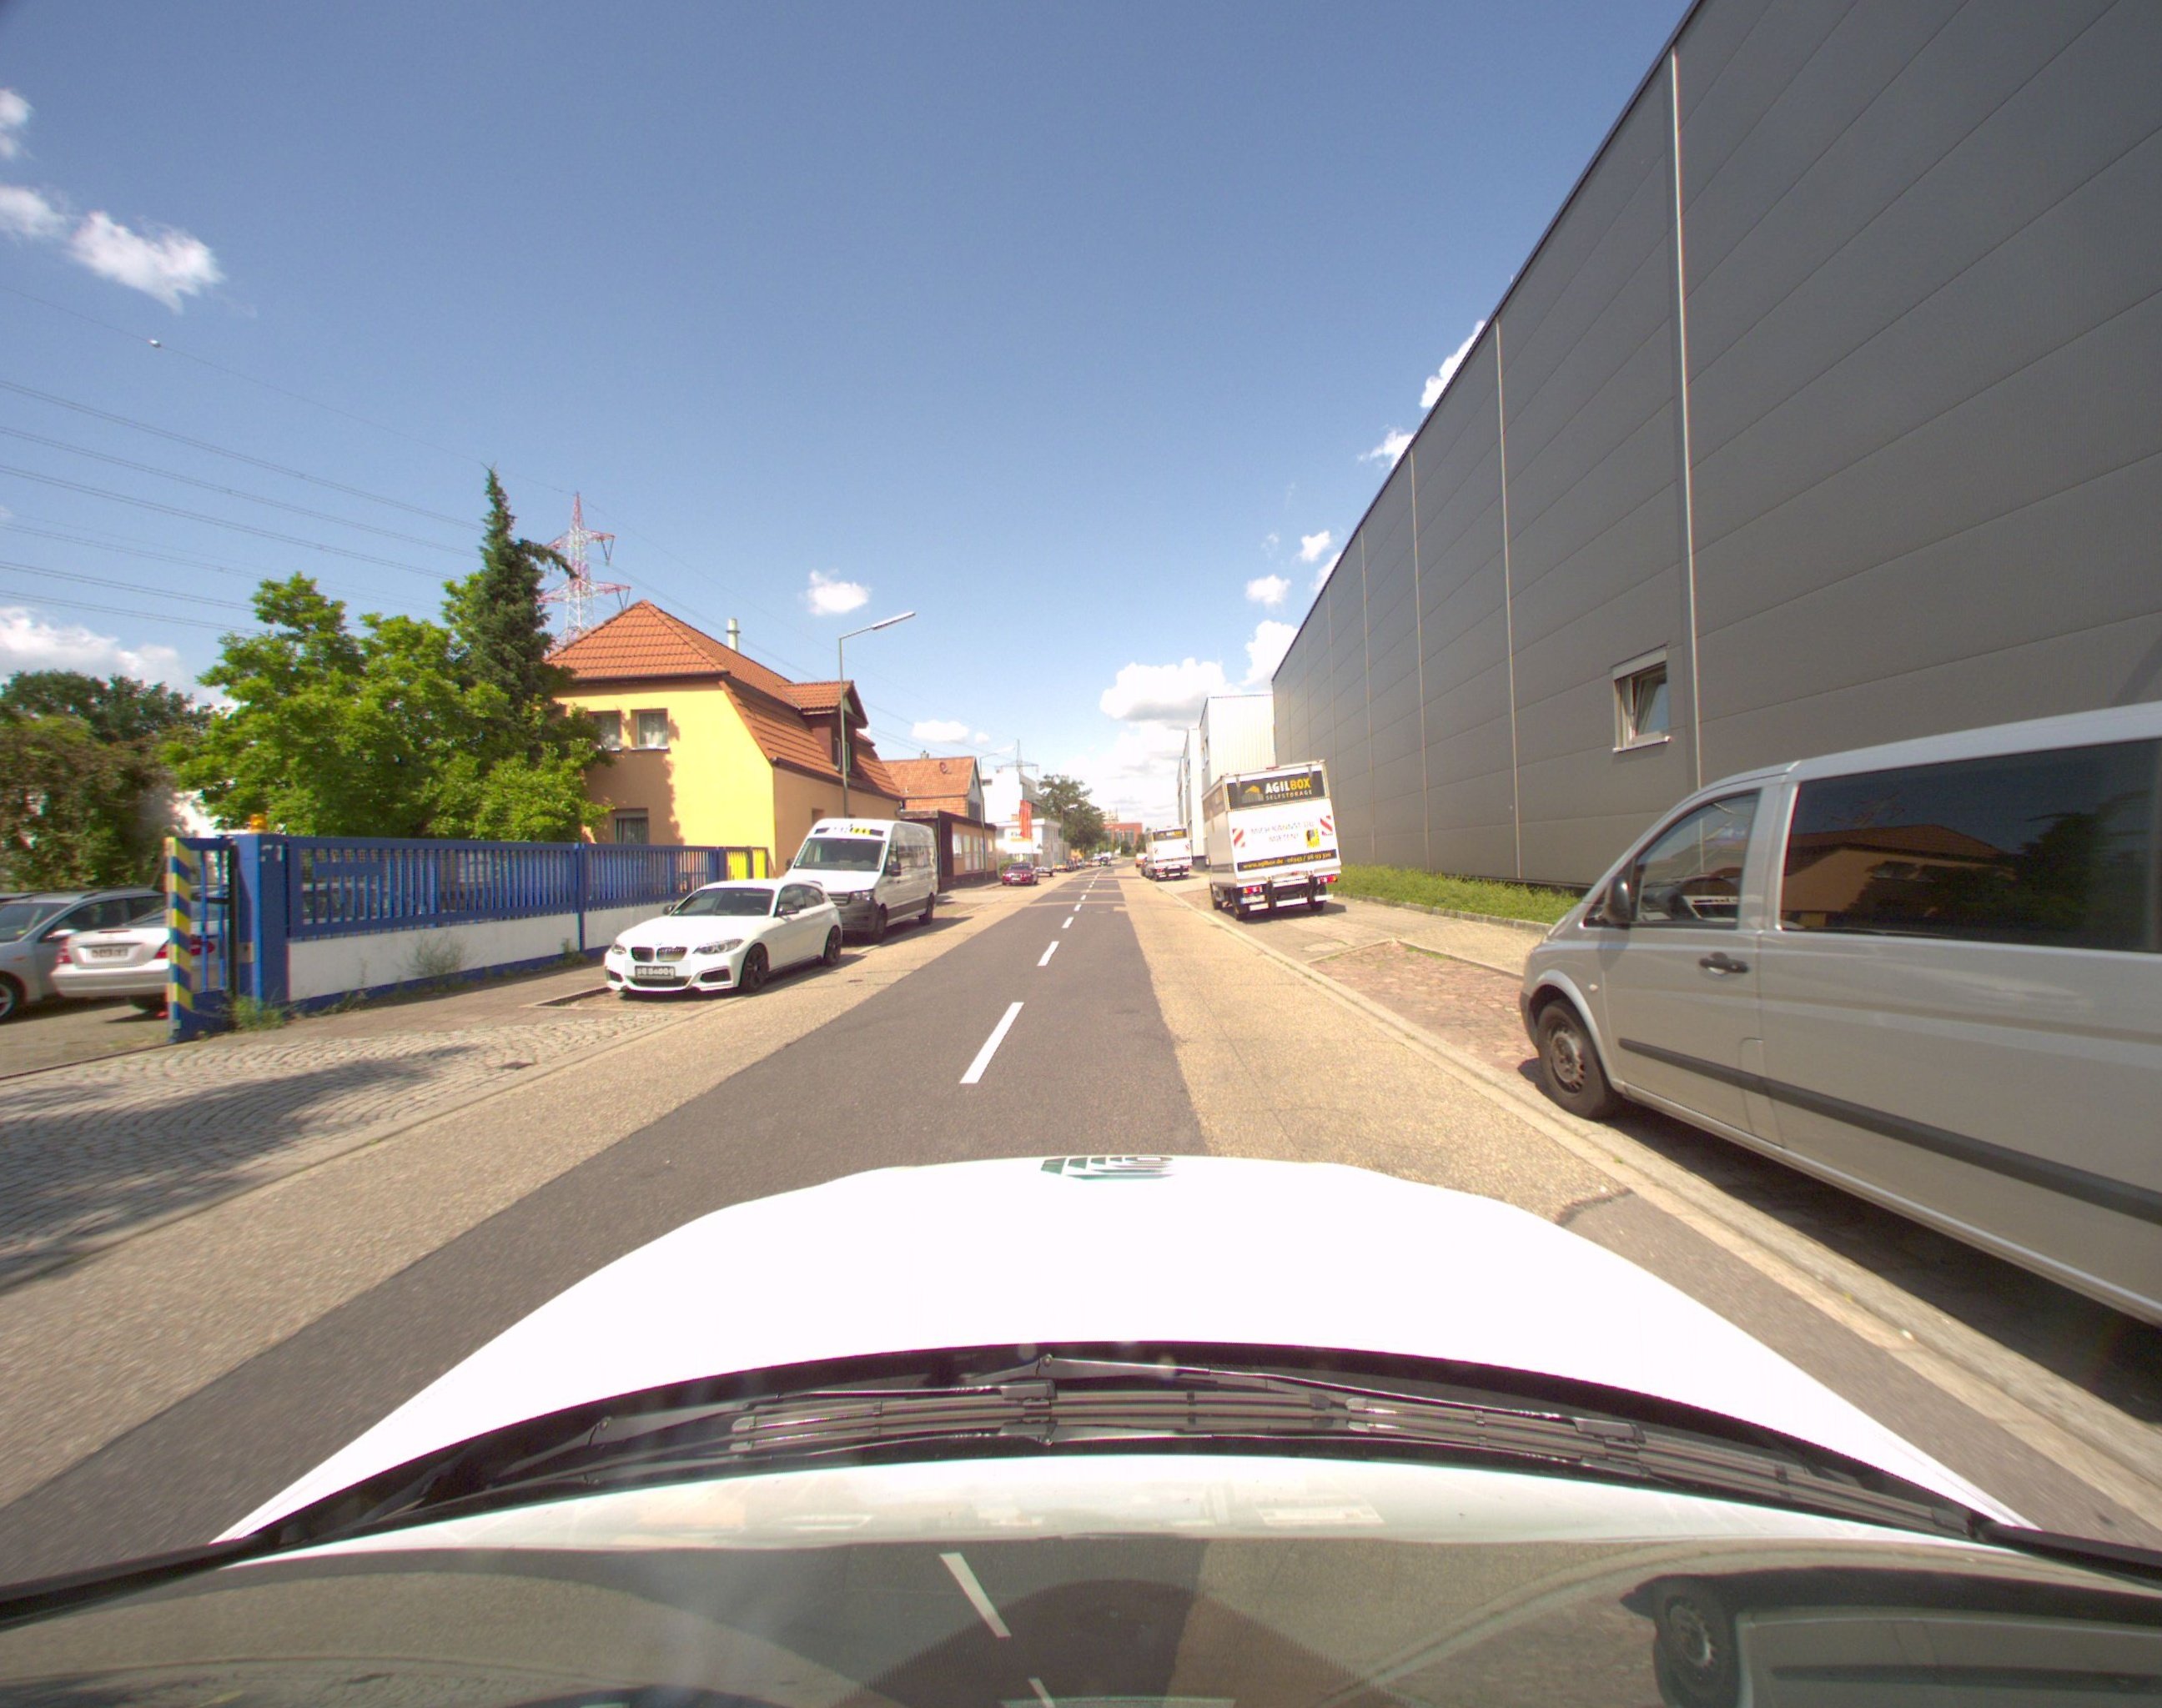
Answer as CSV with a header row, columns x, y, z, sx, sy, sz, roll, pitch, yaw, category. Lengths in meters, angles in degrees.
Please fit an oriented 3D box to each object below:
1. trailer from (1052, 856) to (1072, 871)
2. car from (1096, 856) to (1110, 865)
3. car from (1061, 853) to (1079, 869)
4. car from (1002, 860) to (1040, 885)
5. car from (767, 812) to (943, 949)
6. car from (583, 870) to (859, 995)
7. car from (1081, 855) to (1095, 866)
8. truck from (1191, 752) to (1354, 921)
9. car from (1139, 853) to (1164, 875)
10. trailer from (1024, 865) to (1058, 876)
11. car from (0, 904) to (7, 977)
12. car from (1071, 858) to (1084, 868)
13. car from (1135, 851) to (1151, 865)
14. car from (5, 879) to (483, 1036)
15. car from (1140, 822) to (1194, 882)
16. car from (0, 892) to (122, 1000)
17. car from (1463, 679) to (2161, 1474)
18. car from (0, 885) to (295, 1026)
x,y,z,sx,sy,sz,roll,pitch,yaw,category
-2.111,1.022,90.616,1.986,1.556,4.255,-2,0,2,trailer
3.338,0.990,123.239,1.910,1.285,3.618,-3,0,4,car
-1.404,0.965,106.036,1.984,2.014,4.005,-1,-1,4,car
-3.675,1.131,50.663,1.755,1.447,4.744,0,0,2,car
-4.842,0.521,18.773,2.019,2.561,6.841,-1,-1,1,car
-4.860,0.970,11.829,1.788,1.397,4.505,-1,0,3,car
1.119,1.048,129.328,1.913,1.794,4.005,-1,-1,4,car
4.492,-0.359,20.576,2.449,3.293,6.822,-7,-1,3,truck
5.530,0.801,64.156,1.761,1.612,3.876,-2,-1,3,car
-3.356,1.393,69.375,2.353,0.893,5.571,0,0,2,trailer
-20.721,1.575,12.977,1.839,1.317,4.002,-1,0,2,car
-0.429,1.239,111.523,1.662,1.447,3.455,0,-1,2,car
8.074,0.537,106.281,1.931,1.742,4.382,-3,-1,5,car
-10.559,1.181,10.848,1.857,1.463,4.147,-4,0,4,car
5.332,-0.104,51.708,2.381,3.362,6.642,-4,0,-1,car
-16.676,1.403,11.320,1.839,1.489,4.002,-1,0,2,car
3.604,0.449,3.016,2.045,1.903,5.151,-6,0,3,car
-13.532,1.302,10.766,1.791,1.468,4.318,-2,1,5,car
